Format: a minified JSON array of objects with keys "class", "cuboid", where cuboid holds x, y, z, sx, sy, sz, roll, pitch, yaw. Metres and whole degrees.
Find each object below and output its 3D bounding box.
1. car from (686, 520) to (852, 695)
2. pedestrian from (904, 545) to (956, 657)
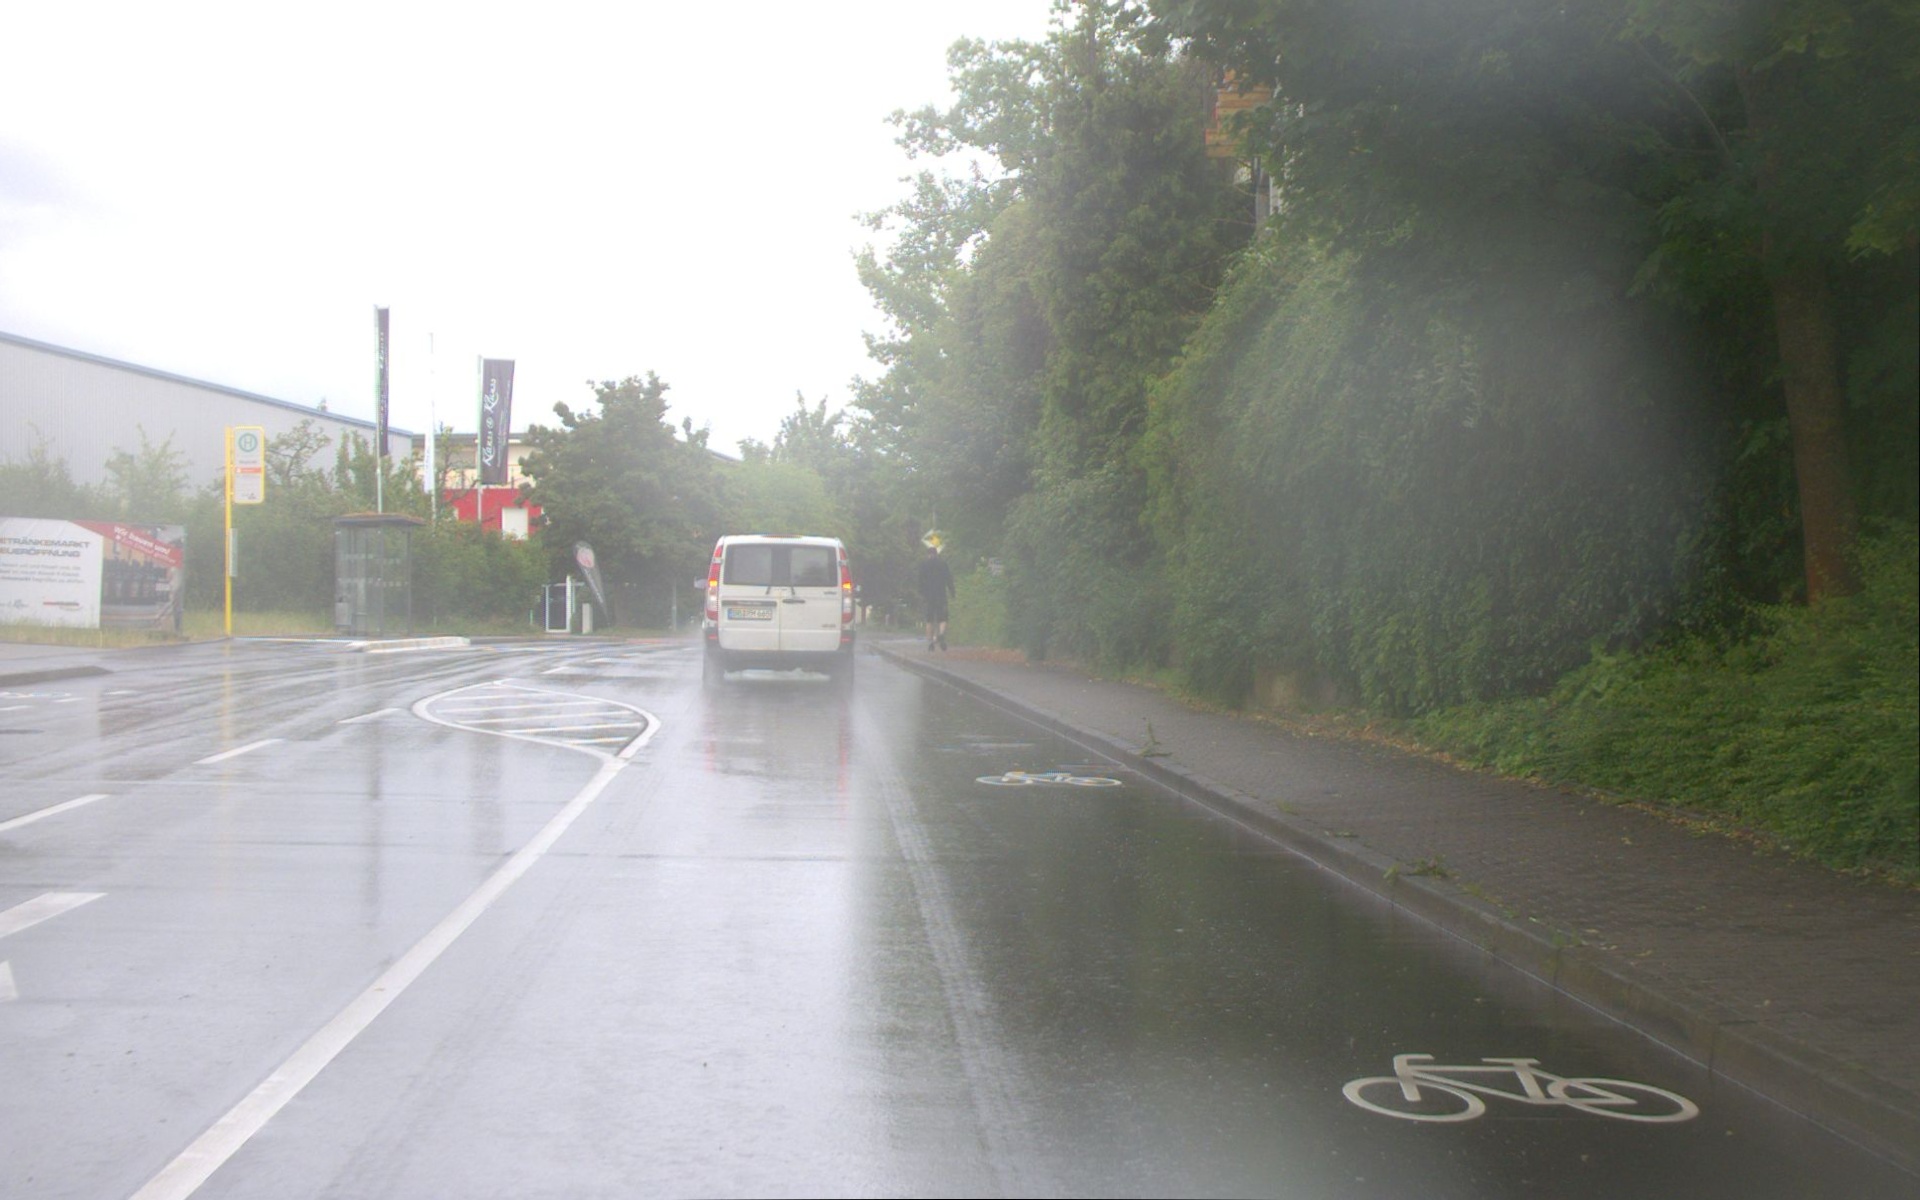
[{"class":"car","cuboid":[-2.404,0.071,43.862,1.898,2.011,5.373,-2,0,-2]},{"class":"pedestrian","cuboid":[-0.536,0.024,60.148,0.776,1.900,0.728,-3,-1,-4]}]
